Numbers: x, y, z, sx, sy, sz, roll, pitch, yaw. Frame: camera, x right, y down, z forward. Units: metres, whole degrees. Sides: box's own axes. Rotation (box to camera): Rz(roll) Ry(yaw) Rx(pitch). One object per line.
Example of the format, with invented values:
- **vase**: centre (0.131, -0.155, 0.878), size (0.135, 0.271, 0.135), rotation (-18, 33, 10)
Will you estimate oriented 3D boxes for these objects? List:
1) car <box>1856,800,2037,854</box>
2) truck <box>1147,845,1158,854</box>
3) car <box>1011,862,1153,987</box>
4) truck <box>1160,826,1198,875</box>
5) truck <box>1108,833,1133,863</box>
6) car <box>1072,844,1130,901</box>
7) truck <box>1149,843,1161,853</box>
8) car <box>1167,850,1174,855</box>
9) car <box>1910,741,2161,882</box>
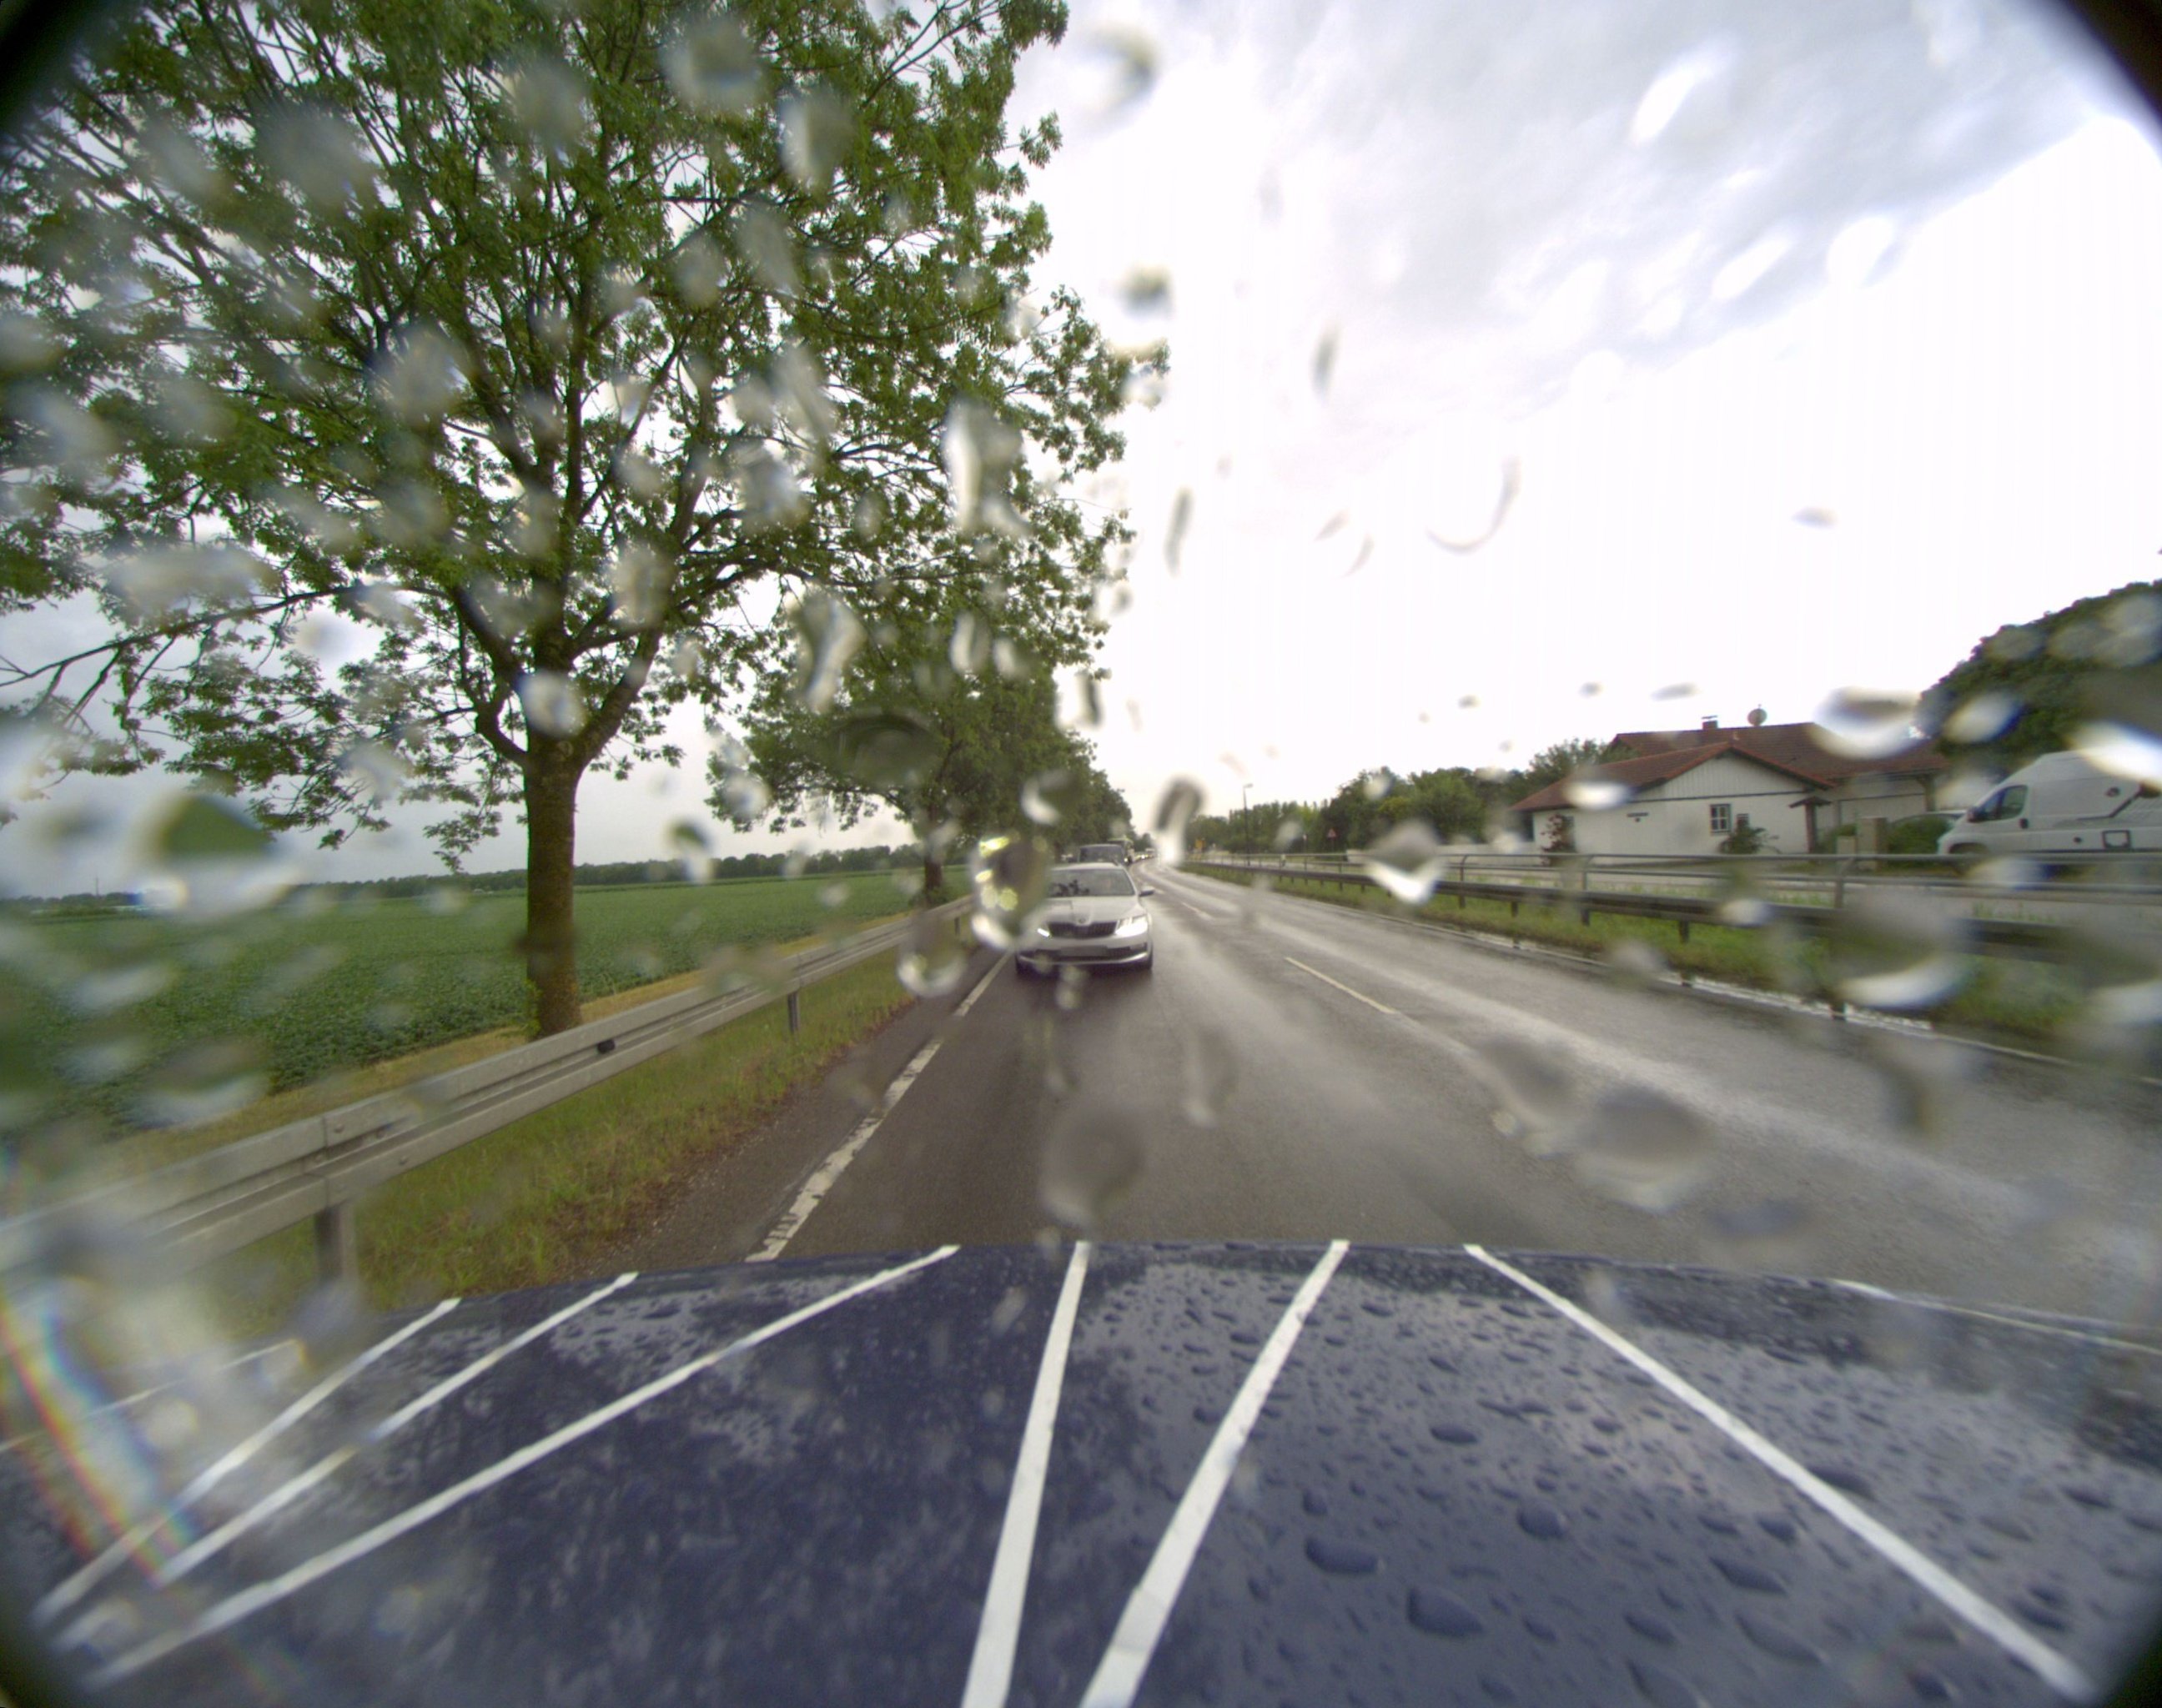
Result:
- **car**: centre (24.512, -0.714, 21.686), size (1.452, 1.348, 3.270), rotation (-3, 0, 2)
- **truck**: centre (19.792, -1.218, 210.465), size (2.800, 2.461, 7.169), rotation (-3, 0, 4)
- **car**: centre (0.021, 0.887, 11.310), size (1.705, 1.438, 4.000), rotation (-1, 0, 0)
- **truck**: centre (10.840, -0.405, 84.862), size (3.256, 5.004, 7.784), rotation (-4, 0, 2)
- **truck**: centre (4.922, -0.732, 96.822), size (2.751, 3.547, 8.387), rotation (-3, 0, 2)
- **car**: centre (0.667, 0.611, 27.418), size (1.903, 1.884, 4.000), rotation (-1, 0, 0)
- **truck**: centre (19.061, -1.460, 195.296), size (2.800, 2.461, 7.169), rotation (-3, 0, 4)
- **car**: centre (29.845, -0.559, 252.446), size (1.811, 1.723, 4.027), rotation (-3, 0, 2)
- **car**: centre (20.746, -0.843, 14.918), size (2.243, 2.565, 6.018), rotation (-4, 0, -1)
